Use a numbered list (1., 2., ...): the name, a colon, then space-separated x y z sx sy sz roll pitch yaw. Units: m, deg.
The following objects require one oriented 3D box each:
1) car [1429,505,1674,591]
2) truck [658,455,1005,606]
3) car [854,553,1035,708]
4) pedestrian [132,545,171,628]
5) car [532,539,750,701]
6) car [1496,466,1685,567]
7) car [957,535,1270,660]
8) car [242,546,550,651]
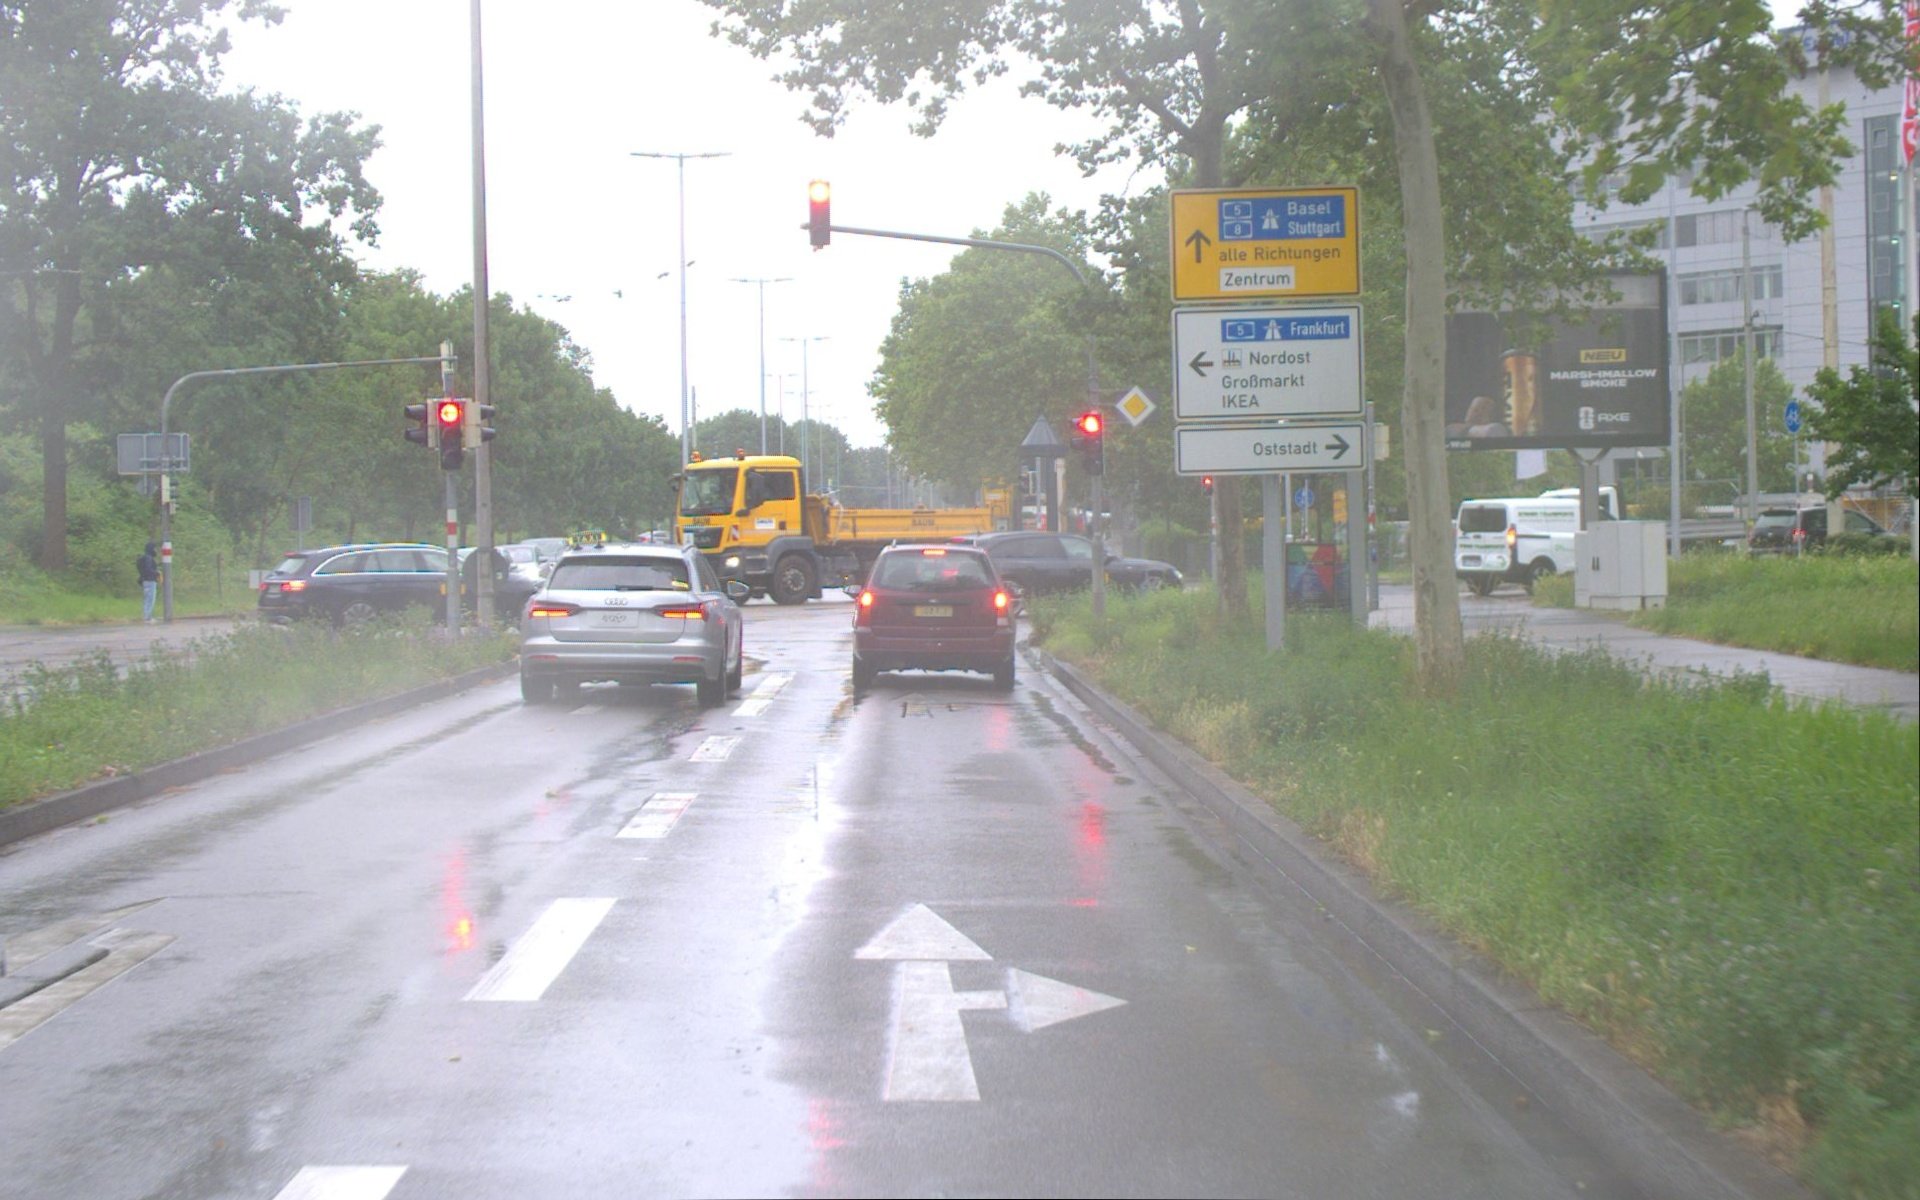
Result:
1. car: 11.196 -0.988 65.004 4.372 1.532 1.802 -1 1 -29
2. truck: -2.657 -1.478 72.539 7.027 3.044 2.646 -1 1 -37
3. car: -0.173 0.282 36.673 1.796 1.532 4.387 1 1 -1
4. pedestrian: -17.493 -0.297 74.366 0.533 1.779 0.673 1 0 17
5. car: -2.965 0.155 32.764 1.690 1.428 4.574 0 1 -1
6. car: 15.081 -1.998 82.202 4.374 2.183 1.802 -4 2 -35
7. car: 2.237 -0.075 49.317 4.375 1.531 1.801 -4 4 -40
8. car: -8.807 -0.040 53.737 4.372 1.532 1.802 -1 1 -29
